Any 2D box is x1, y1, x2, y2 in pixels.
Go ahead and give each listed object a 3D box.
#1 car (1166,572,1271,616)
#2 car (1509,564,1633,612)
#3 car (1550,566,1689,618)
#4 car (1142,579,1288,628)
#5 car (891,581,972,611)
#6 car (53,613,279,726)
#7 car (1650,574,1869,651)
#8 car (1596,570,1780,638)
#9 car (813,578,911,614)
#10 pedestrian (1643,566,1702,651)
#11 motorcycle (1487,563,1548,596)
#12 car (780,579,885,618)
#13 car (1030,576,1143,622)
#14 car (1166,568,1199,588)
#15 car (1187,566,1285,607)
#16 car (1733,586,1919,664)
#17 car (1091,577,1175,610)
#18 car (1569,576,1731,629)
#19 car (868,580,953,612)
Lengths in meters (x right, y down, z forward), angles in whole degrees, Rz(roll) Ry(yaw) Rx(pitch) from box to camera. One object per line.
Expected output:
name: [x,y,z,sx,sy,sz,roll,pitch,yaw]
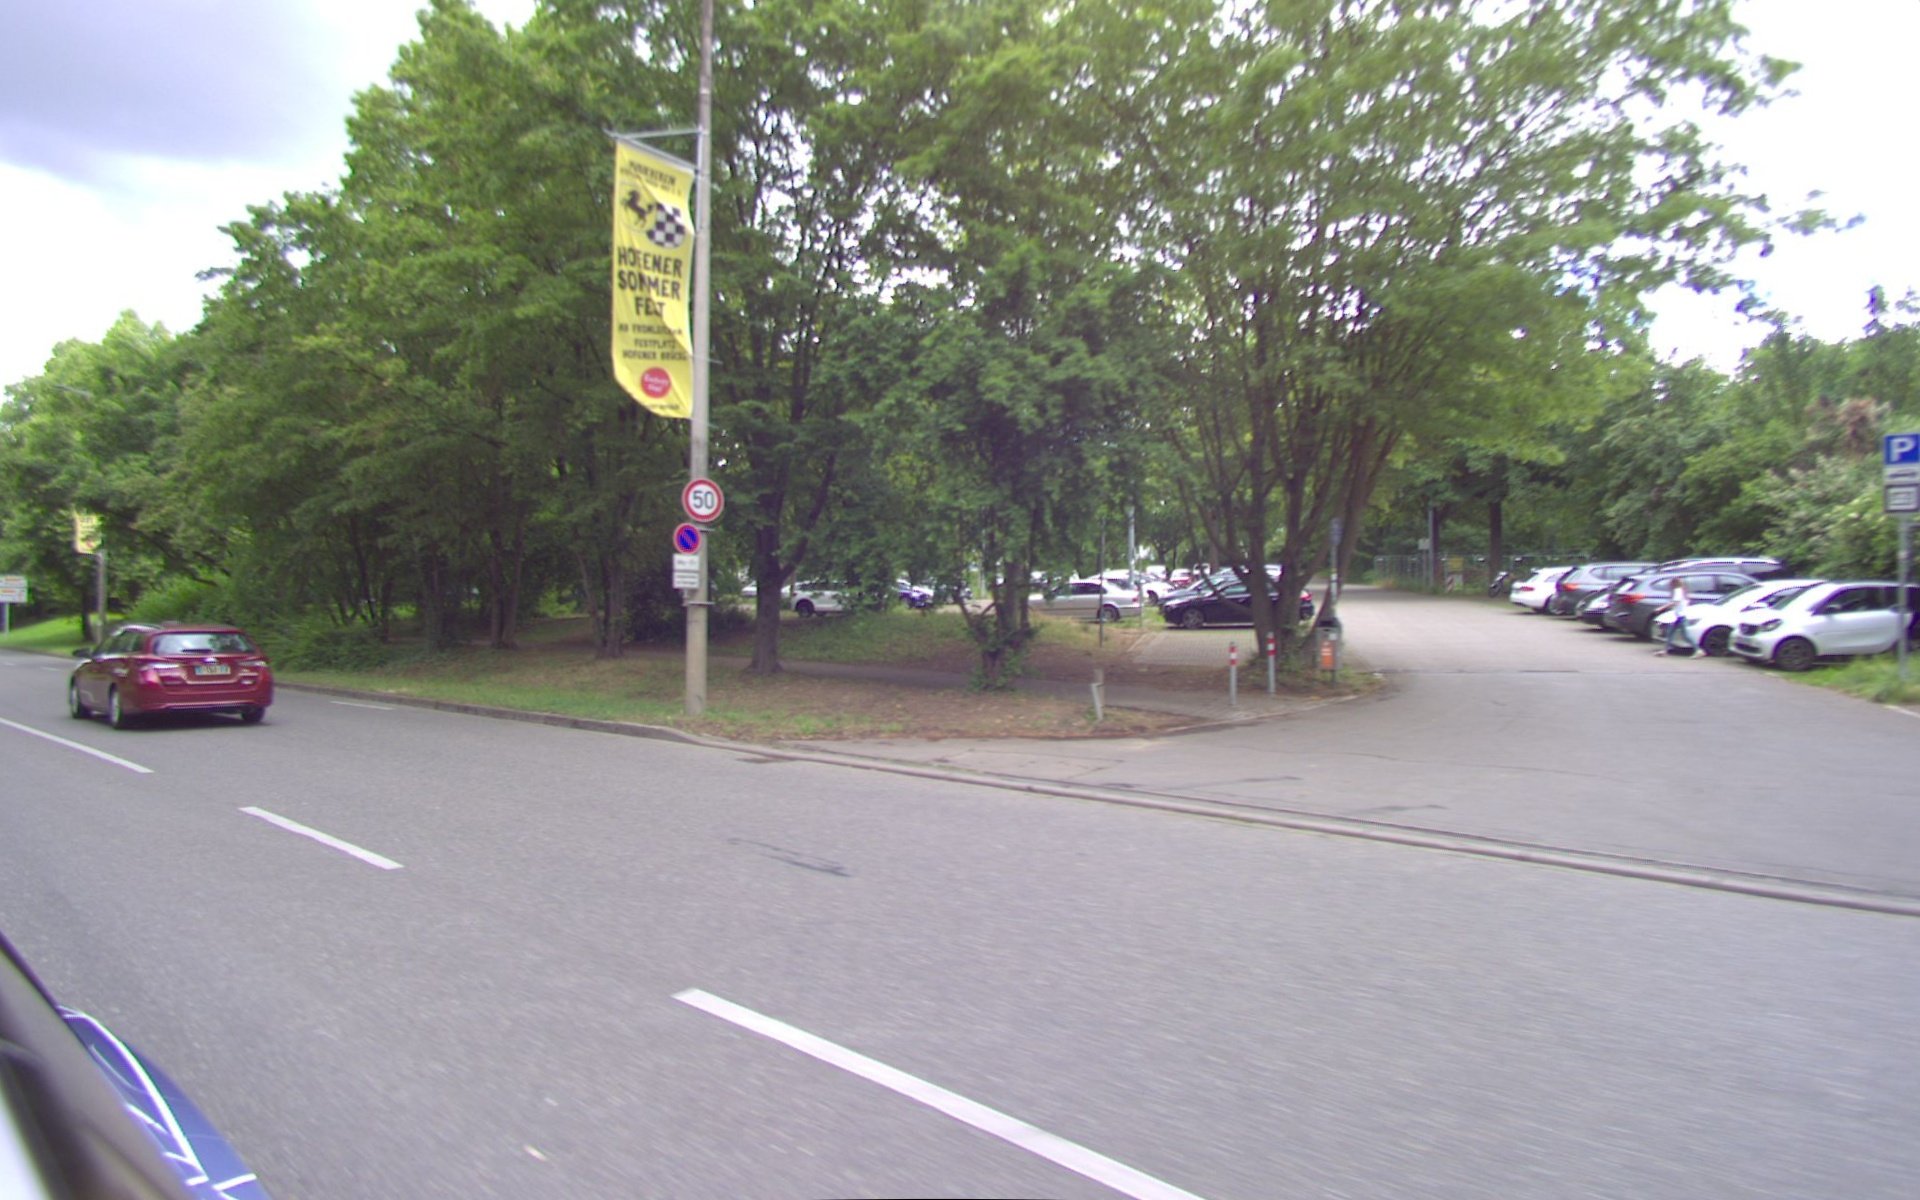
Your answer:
car: [8.877,-0.214,34.674,3.353,1.425,1.530,-1,1,20]
car: [18.840,-0.370,31.304,3.047,1.378,1.259,-1,1,20]
car: [18.596,-0.237,28.664,3.047,1.371,1.259,-1,1,20]
car: [7.570,0.103,30.037,4.092,1.350,1.433,-1,1,20]
car: [-1.495,-0.205,53.749,3.966,1.497,1.642,-1,0,17]
car: [-11.743,0.946,14.878,4.192,1.439,1.699,-1,-3,39]
car: [15.537,0.248,19.818,3.047,1.412,1.367,-1,1,20]
car: [16.227,0.088,22.693,3.047,1.412,1.367,-1,1,20]
car: [-4.273,-0.170,44.299,3.966,1.497,1.642,-1,0,17]
pedestrian: [13.948,0.167,19.826,0.824,1.623,0.467,-1,0,19]
motorcycle: [23.740,-0.883,43.121,2.186,1.333,0.716,-1,0,42]
car: [-5.228,-0.067,41.504,3.966,1.497,1.642,-1,0,17]
car: [4.255,-0.040,33.803,3.553,1.391,1.641,-1,1,14]
car: [14.553,-1.427,65.982,1.886,1.219,3.965,-1,0,16]
car: [10.166,-0.497,37.214,3.353,1.425,1.530,-1,1,20]
car: [15.550,0.427,17.600,3.047,1.247,1.367,-1,1,20]
car: [7.689,-0.300,44.865,3.553,1.363,1.641,-1,1,14]
car: [16.928,0.061,24.957,3.047,1.221,1.259,-1,1,20]
car: [-2.481,-0.191,51.141,3.966,1.497,1.642,-1,0,17]
